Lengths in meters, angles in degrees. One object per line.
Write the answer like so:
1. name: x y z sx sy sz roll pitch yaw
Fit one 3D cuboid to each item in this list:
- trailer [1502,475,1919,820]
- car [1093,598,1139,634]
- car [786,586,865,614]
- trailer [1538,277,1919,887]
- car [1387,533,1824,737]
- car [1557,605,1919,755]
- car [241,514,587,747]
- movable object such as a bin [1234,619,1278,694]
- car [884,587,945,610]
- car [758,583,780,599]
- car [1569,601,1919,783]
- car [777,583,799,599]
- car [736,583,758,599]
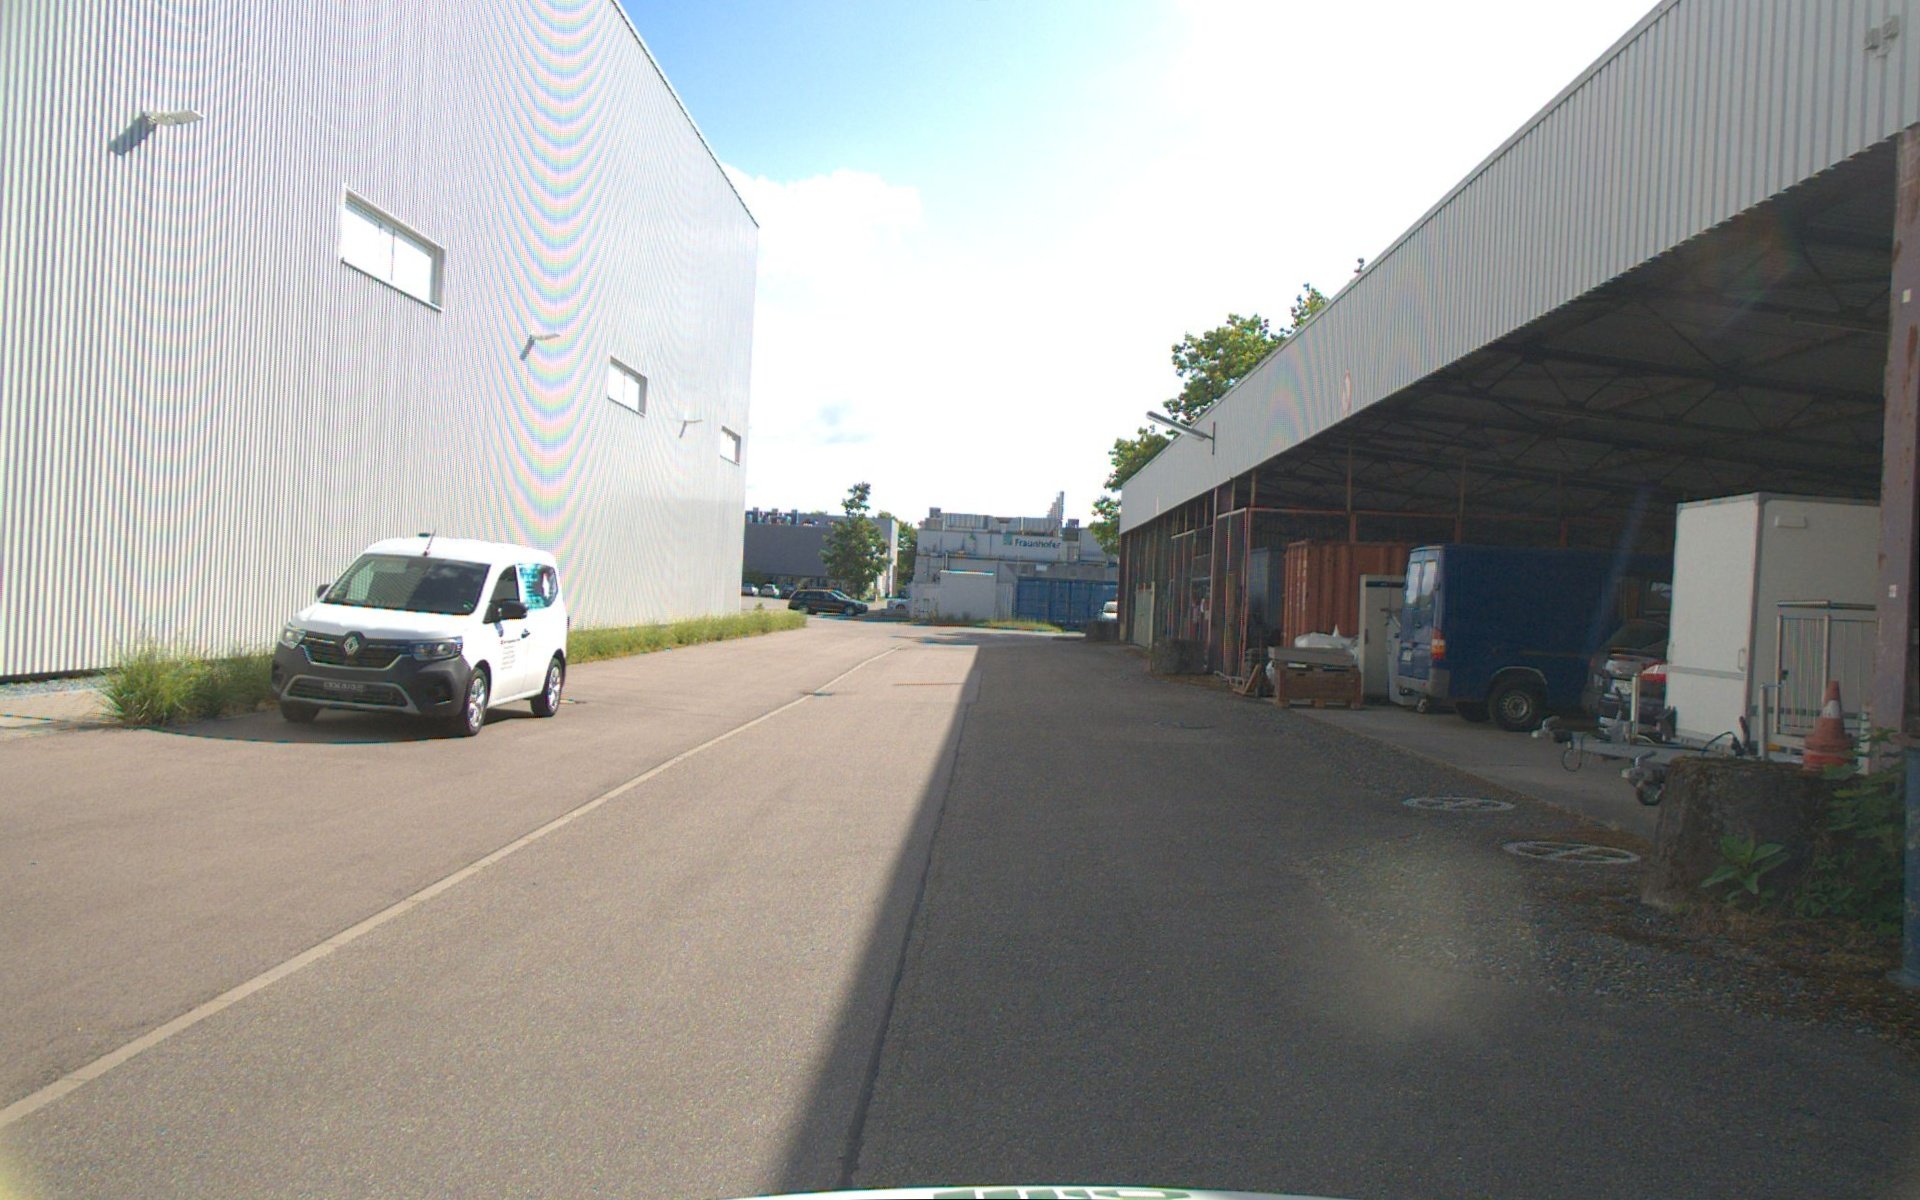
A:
1. trailer: 6.891 0.369 12.917 4.711 2.433 1.828 2 0 6
2. car: 8.065 0.812 85.842 1.953 1.613 4.173 2 2 0
3. car: -8.005 0.009 98.790 4.432 1.534 1.909 2 0 3
4. trailer: 9.066 0.033 10.349 9.831 3.272 2.854 2 0 1
5. car: 8.306 0.430 21.638 4.876 2.366 2.000 2 0 1
6. car: 9.030 0.875 18.664 3.908 1.498 1.787 2 0 -4
7. car: -5.237 0.260 16.562 1.852 1.877 4.359 5 0 0
8. movable object such as a bin: 4.890 0.917 27.357 0.569 1.185 1.239 2 0 5
9. car: -3.462 -0.124 126.341 4.432 1.534 1.909 2 0 2
10. car: -22.662 -1.057 196.113 2.148 1.766 4.000 1 0 0
11. car: 8.181 0.847 15.544 4.241 1.522 1.777 2 0 -2
12. car: -20.187 -1.057 194.373 2.148 1.766 4.000 1 0 0
13. car: -25.201 -1.066 195.799 1.952 1.766 4.000 1 0 0
